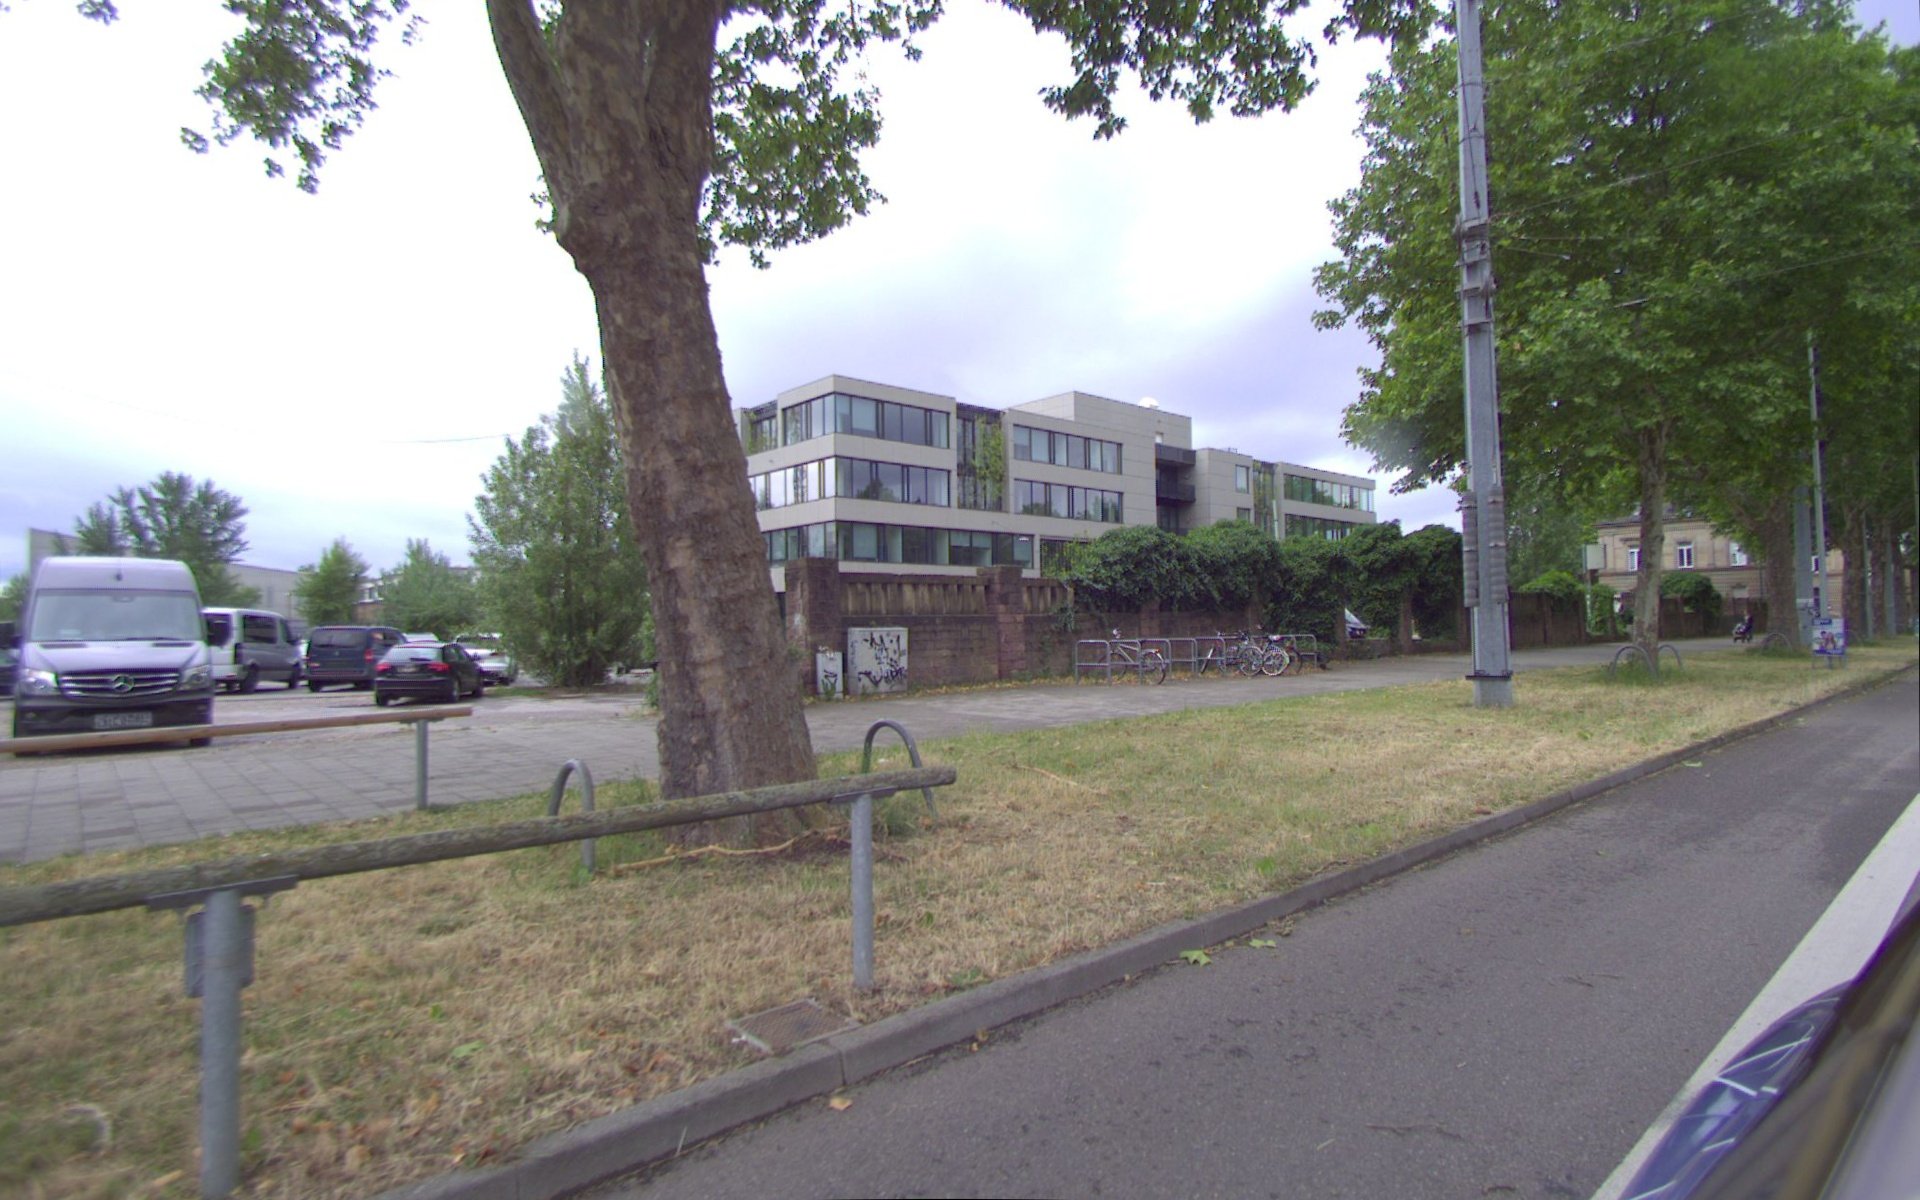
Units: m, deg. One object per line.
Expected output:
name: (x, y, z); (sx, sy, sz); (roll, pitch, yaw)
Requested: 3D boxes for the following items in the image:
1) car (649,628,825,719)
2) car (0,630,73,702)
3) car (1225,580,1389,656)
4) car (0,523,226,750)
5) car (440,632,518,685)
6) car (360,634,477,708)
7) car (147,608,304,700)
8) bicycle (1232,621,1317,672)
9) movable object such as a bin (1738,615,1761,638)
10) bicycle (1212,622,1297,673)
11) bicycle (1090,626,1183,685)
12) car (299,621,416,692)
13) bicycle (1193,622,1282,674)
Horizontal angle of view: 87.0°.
car: (-4.521, 1.423, 20.158); (1.721, 1.600, 3.768); (0, -3, -43)
car: (-25.811, 1.744, 26.438); (1.958, 1.831, 4.730); (-1, -1, -13)
car: (12.611, 0.709, 37.102); (2.041, 2.453, 5.233); (0, -4, -44)
car: (-11.872, 0.605, 14.276); (2.132, 2.556, 5.794); (1, -4, -39)
car: (-15.647, 1.844, 33.094); (1.958, 1.538, 4.007); (-1, -1, -20)
car: (-13.008, 1.636, 24.541); (1.958, 1.538, 4.007); (-1, -1, -20)
car: (-20.902, 1.480, 29.073); (1.958, 2.374, 4.730); (-1, -1, -13)
bicycle: (7.392, 1.077, 23.873); (0.540, 1.119, 1.891); (0, 0, -43)
movable object such as a bin: (38.779, 1.312, 49.722); (0.995, 1.127, 0.613); (1, -2, -36)
bicycle: (6.833, 1.076, 23.555); (0.540, 1.111, 1.902); (0, 0, -43)
bicycle: (3.542, 1.094, 20.481); (0.540, 1.105, 1.923); (0, 0, -43)
car: (-18.322, 1.653, 30.975); (1.958, 1.973, 4.007); (-1, -1, -13)
bicycle: (6.328, 1.078, 23.179); (0.540, 1.108, 1.976); (0, 0, -43)
